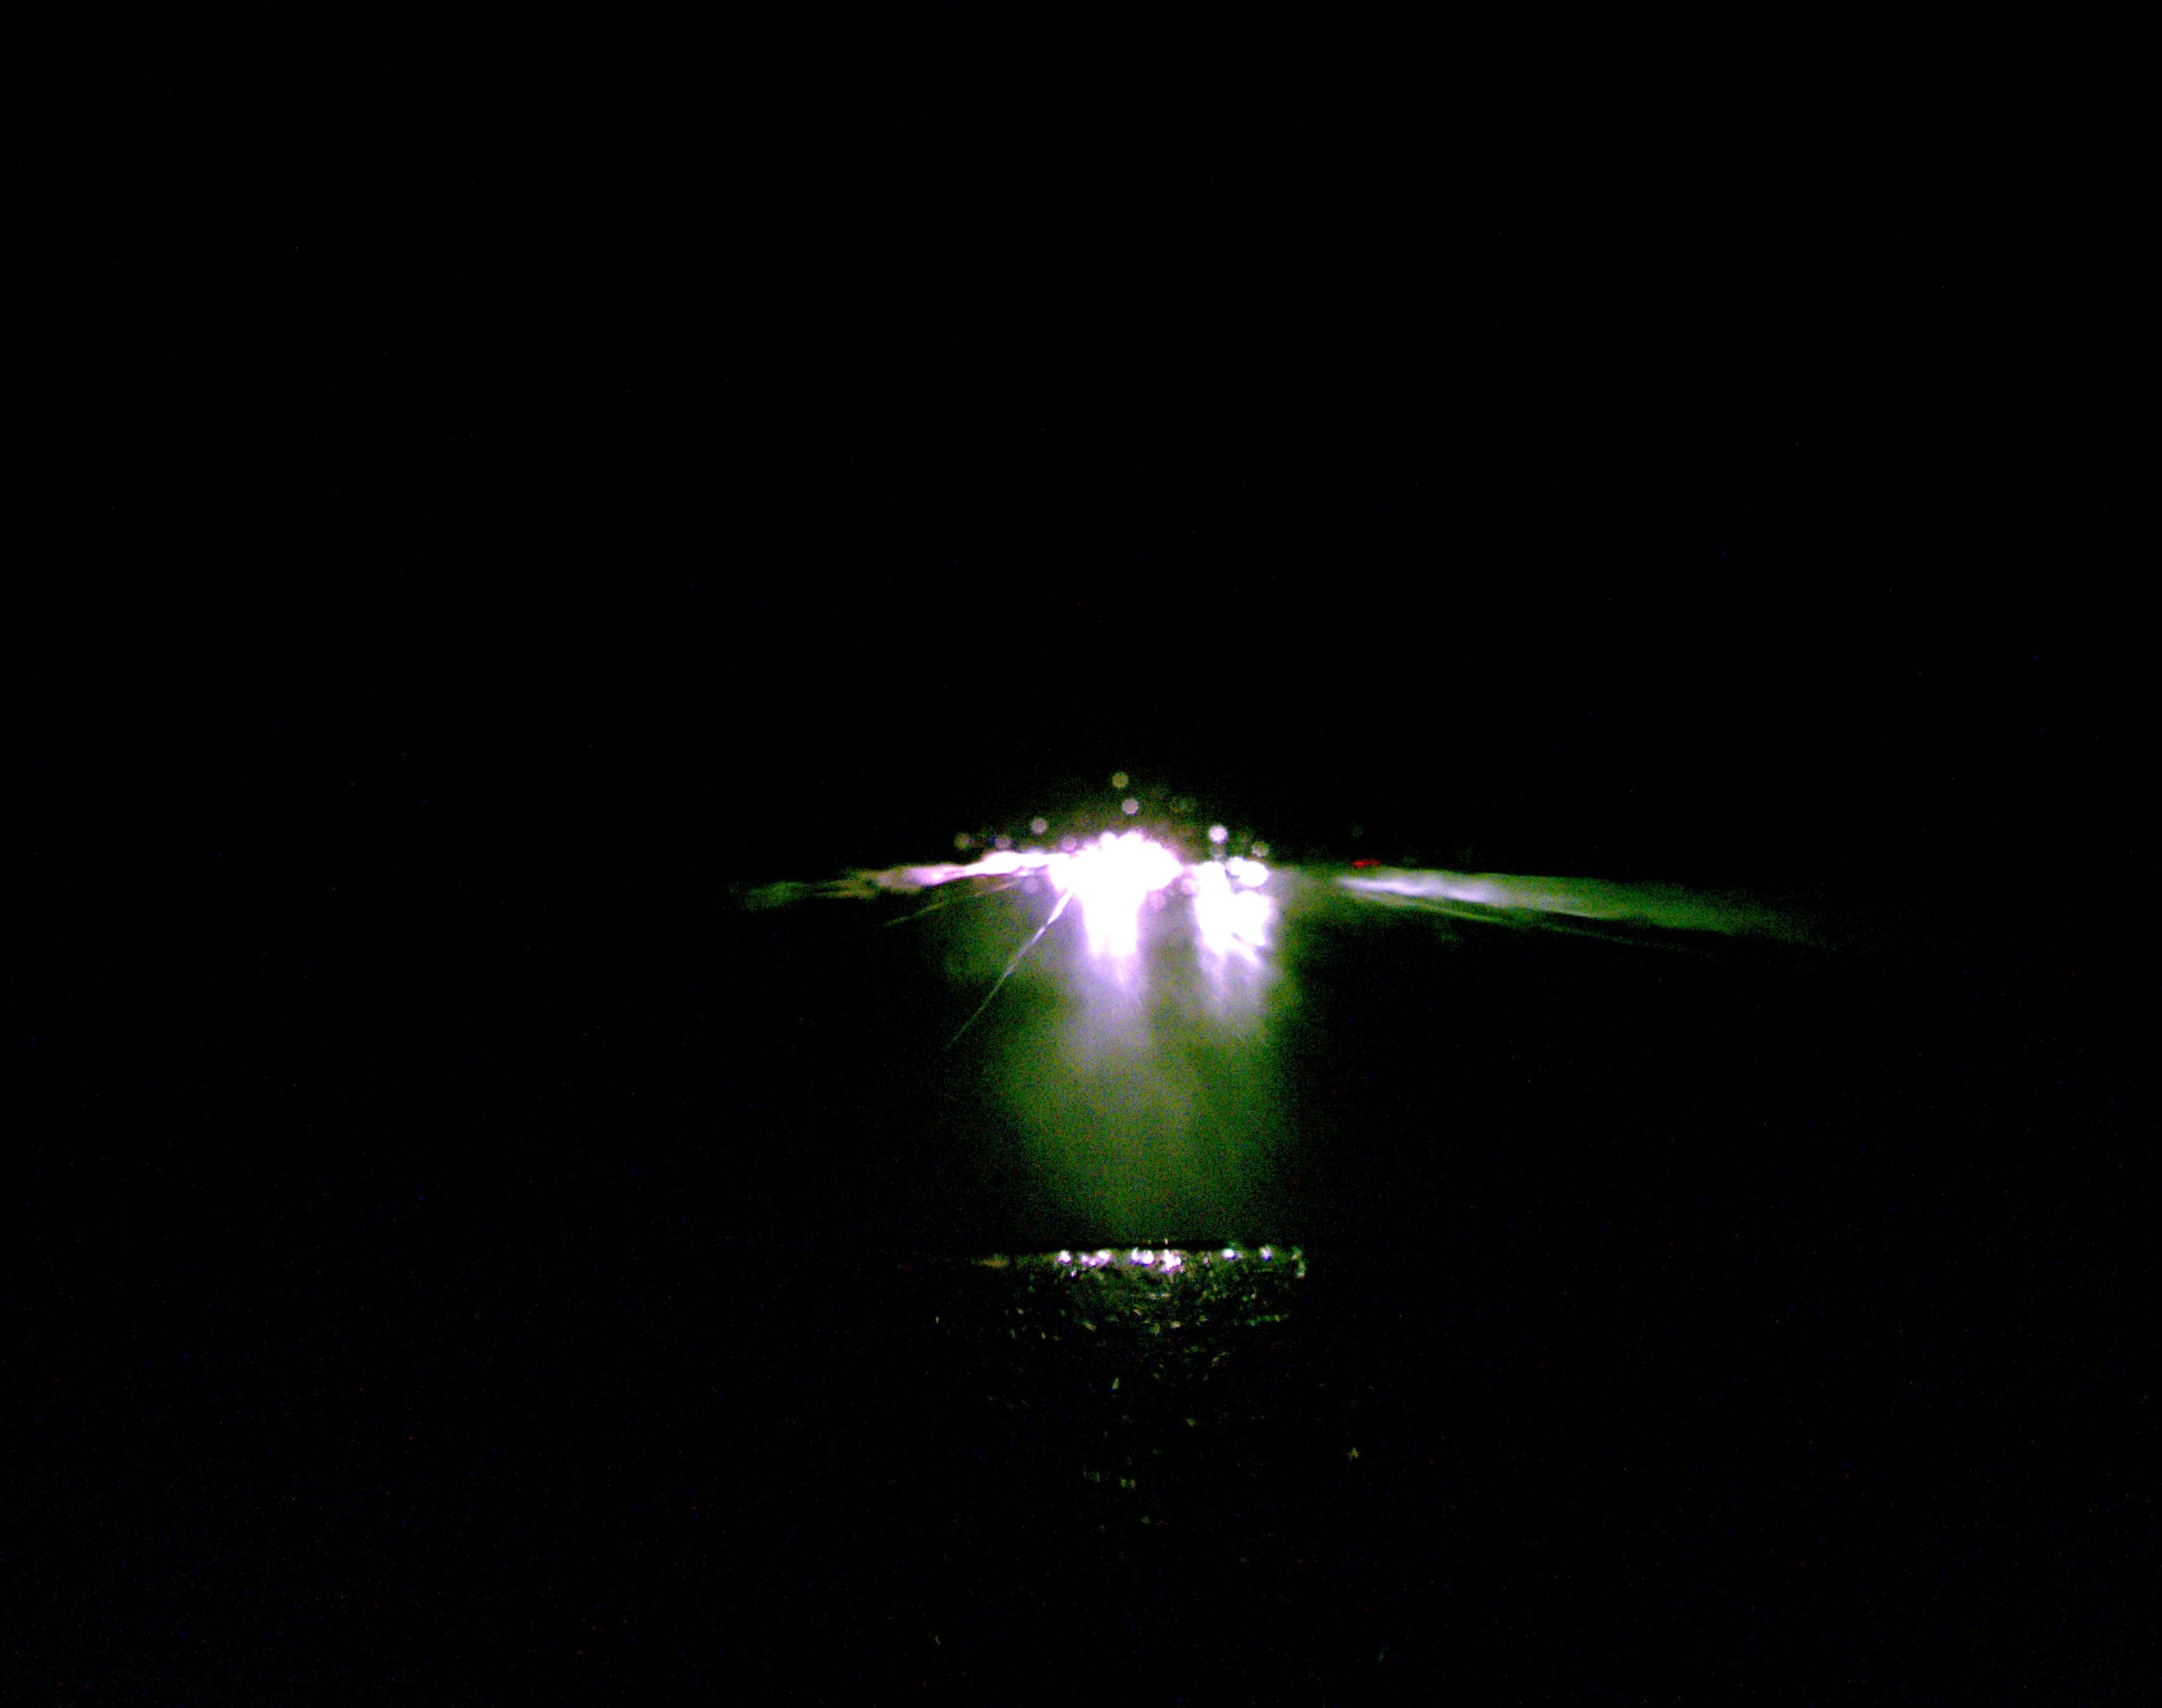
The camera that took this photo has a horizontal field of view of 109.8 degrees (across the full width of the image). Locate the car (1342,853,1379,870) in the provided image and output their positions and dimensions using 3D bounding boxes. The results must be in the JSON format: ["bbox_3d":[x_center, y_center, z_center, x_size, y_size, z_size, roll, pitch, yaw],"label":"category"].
[{"bbox_3d":[26.971,0.701,73.553,1.998,1.477,4.407,-3,0,1],"label":"car"}]

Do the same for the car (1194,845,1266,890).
[{"bbox_3d":[5.666,0.462,29.390,2.309,1.600,3.872,1,1,5],"label":"car"}]

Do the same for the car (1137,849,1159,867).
[{"bbox_3d":[6.643,0.341,75.731,1.998,1.667,4.000,1,1,3],"label":"car"}]

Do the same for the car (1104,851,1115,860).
[{"bbox_3d":[5.534,0.299,145.890,1.998,1.745,4.000,0,1,3],"label":"car"}]

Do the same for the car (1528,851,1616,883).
[{"bbox_3d":[25.505,0.628,39.627,1.998,1.477,4.000,-3,0,1],"label":"car"}]

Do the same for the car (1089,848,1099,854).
[{"bbox_3d":[2.862,-0.679,169.127,1.998,1.149,3.999,1,1,0],"label":"car"}]

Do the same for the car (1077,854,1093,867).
[{"bbox_3d":[0.553,0.922,104.818,1.998,1.745,4.000,0,1,3],"label":"car"}]

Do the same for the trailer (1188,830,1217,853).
[{"bbox_3d":[25.761,-2.672,161.758,4.177,4.597,13.957,1,1,2],"label":"trailer"}]

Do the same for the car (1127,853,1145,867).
[{"bbox_3d":[6.966,0.742,96.455,1.998,1.745,3.999,0,1,1],"label":"car"}]

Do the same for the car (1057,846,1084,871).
[{"bbox_3d":[-0.840,0.346,64.128,1.998,2.002,4.000,1,1,4],"label":"car"}]

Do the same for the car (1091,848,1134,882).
[{"bbox_3d":[1.745,0.520,40.518,1.997,1.667,4.001,1,1,6],"label":"car"}]
